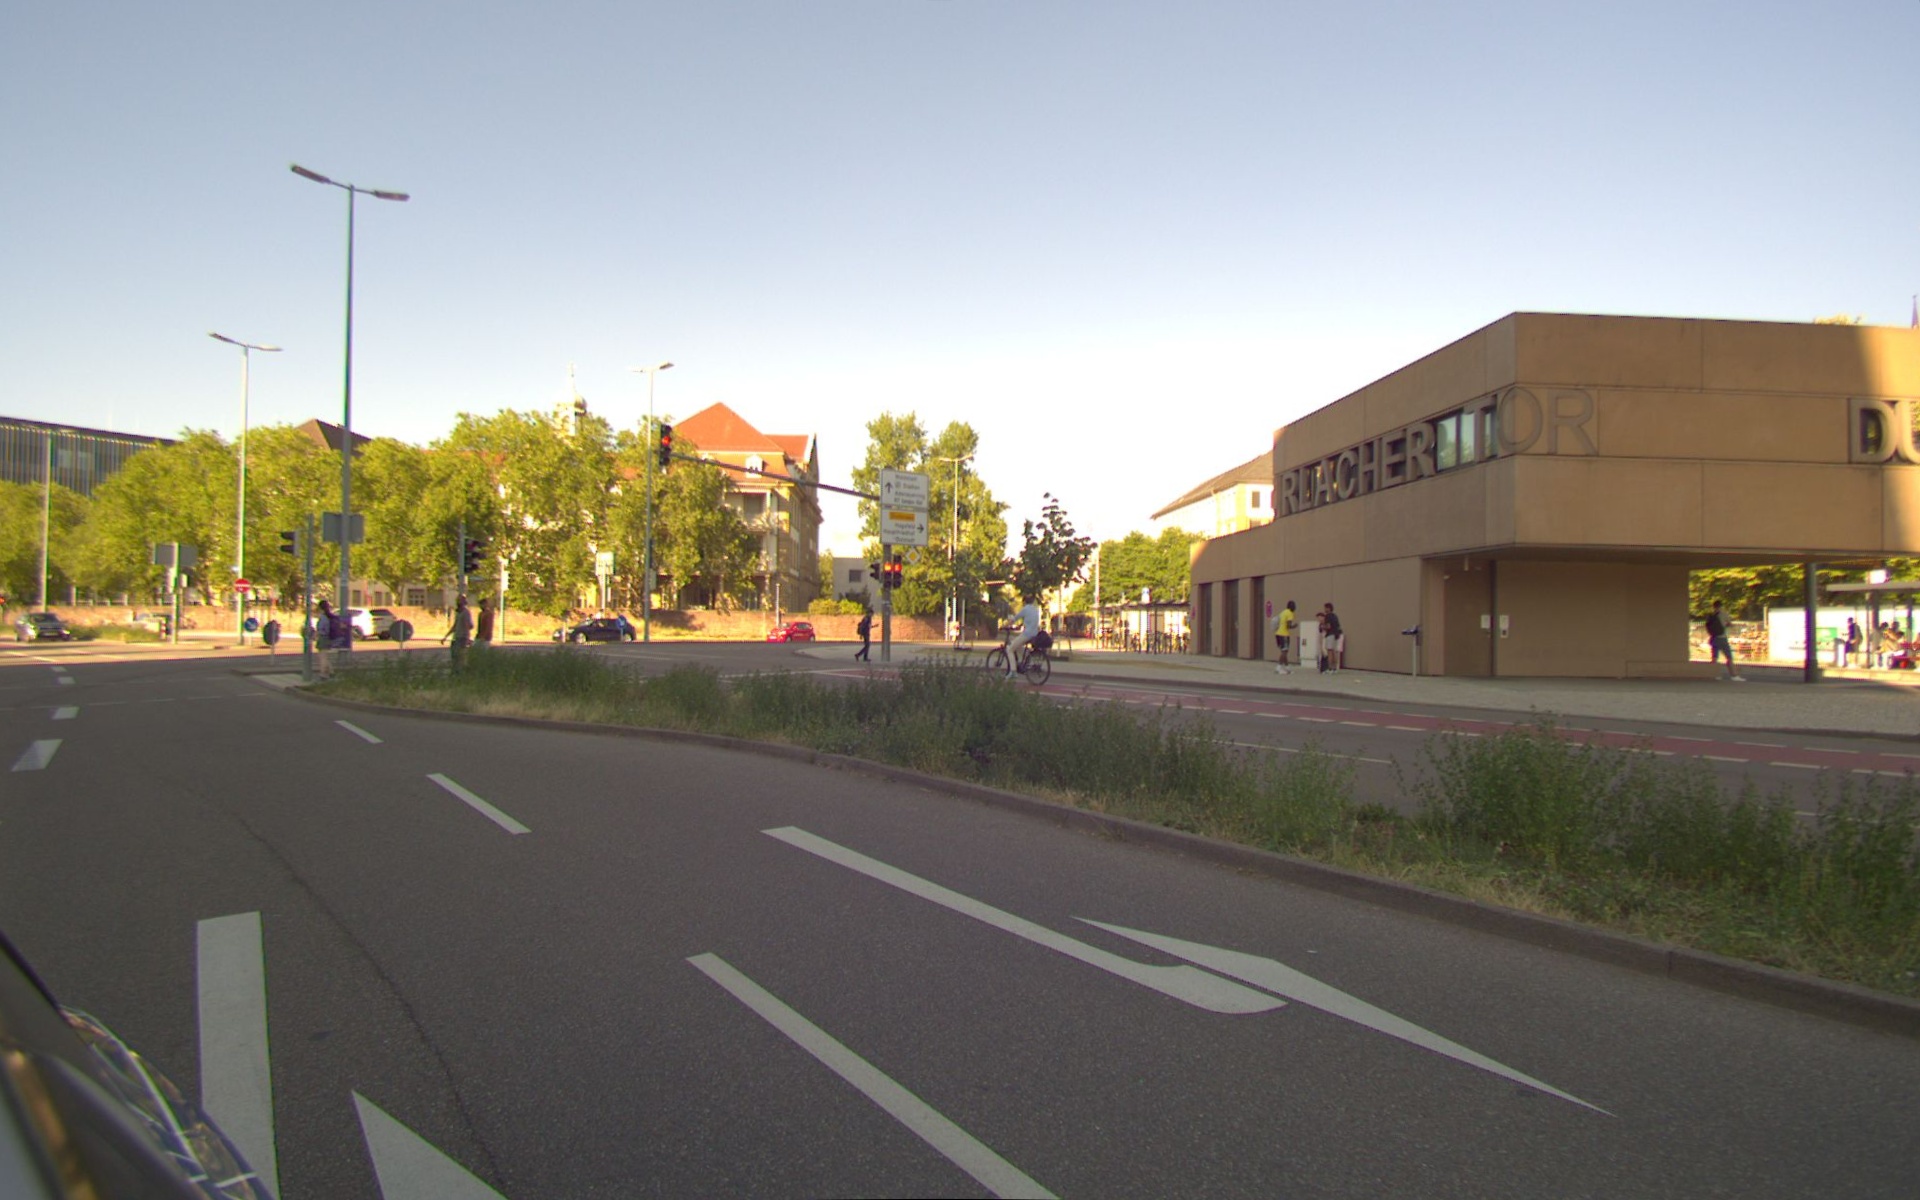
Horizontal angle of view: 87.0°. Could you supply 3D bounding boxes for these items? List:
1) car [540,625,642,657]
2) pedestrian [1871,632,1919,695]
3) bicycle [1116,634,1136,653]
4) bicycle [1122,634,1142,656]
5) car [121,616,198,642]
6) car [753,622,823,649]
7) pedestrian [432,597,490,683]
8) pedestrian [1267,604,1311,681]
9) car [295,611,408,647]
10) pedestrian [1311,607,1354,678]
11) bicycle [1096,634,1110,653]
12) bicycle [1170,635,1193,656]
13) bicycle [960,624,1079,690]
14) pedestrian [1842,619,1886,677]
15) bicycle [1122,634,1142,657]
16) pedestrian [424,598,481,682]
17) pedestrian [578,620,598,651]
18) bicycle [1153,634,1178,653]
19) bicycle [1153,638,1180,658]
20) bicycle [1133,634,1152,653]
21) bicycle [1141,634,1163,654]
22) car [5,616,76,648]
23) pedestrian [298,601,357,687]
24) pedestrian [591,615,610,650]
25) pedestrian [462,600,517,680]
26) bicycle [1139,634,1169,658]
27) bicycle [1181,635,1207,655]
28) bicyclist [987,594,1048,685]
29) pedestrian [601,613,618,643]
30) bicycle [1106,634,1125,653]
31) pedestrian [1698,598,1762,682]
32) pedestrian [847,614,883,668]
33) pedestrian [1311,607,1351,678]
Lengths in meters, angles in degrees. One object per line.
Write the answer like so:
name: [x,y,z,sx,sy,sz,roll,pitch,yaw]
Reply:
car: [-19.268,2.140,53.014,2.194,1.598,4.543,-4,-3,41]
pedestrian: [30.610,2.063,32.996,0.982,1.997,0.829,1,-3,-2]
bicycle: [9.966,2.582,60.811,0.673,1.062,2.024,-1,-1,-3]
bicycle: [9.315,2.441,54.783,0.477,1.114,1.805,-1,-1,-10]
car: [-52.964,1.917,66.988,4.333,1.632,2.140,0,-2,22]
car: [-11.114,2.299,65.638,2.185,1.598,4.563,-3,-3,28]
pedestrian: [-10.437,0.833,21.179,0.913,1.754,0.758,2,-2,-40]
pedestrian: [8.026,1.025,24.694,0.706,1.849,0.641,0,-3,-30]
car: [-30.491,1.475,50.760,4.556,1.697,2.188,-2,-3,10]
pedestrian: [9.382,1.064,25.511,0.725,1.744,0.665,-1,-3,-5]
bicycle: [8.528,2.575,60.427,0.559,1.062,1.972,-1,-1,1]
bicycle: [11.593,2.379,53.002,0.595,1.051,2.035,-1,-1,-4]
bicycle: [1.203,1.140,21.036,2.556,1.265,0.732,0,-1,42]
pedestrian: [31.721,1.676,35.529,0.804,1.997,0.755,1,-3,-2]
bicycle: [9.057,2.379,53.279,0.558,1.114,1.975,-1,-1,-4]
pedestrian: [-10.938,0.852,21.806,0.913,1.754,0.758,2,-2,-40]
pedestrian: [-20.917,1.972,56.895,0.858,1.686,0.715,2,1,-30]
bicycle: [12.451,2.645,61.303,0.825,1.062,2.122,-1,-1,-6]
bicycle: [11.264,2.603,55.307,0.853,1.051,1.934,-1,-1,-6]
bicycle: [10.929,2.601,60.778,0.673,1.062,1.938,-1,-1,-3]
bicycle: [11.138,2.540,58.785,0.747,1.062,1.975,-1,-1,-4]
car: [-45.690,1.572,50.267,4.012,1.530,1.901,-1,-2,38]
pedestrian: [-13.186,0.911,21.107,0.913,1.754,0.758,2,-2,-40]
pedestrian: [-20.592,1.854,57.947,0.858,1.908,0.715,2,1,-30]
pedestrian: [-10.660,0.898,22.934,0.913,1.754,0.789,2,-2,-40]
bicycle: [9.395,2.228,49.162,0.733,1.114,2.128,-1,-3,-8]
bicycle: [12.708,2.450,55.109,0.755,1.051,1.934,-1,-1,-6]
bicyclist: [1.199,0.805,21.041,1.013,1.846,0.732,0,-1,42]
pedestrian: [-20.396,1.615,58.912,0.780,1.665,0.715,3,1,-14]
bicycle: [9.030,2.511,58.756,0.558,1.062,1.976,-1,-1,-7]
pedestrian: [18.691,0.970,24.577,0.966,1.997,0.719,1,-3,-4]
pedestrian: [-3.037,1.298,32.422,0.885,1.697,0.749,2,-3,-40]
pedestrian: [8.997,1.031,24.560,0.628,1.702,0.551,0,-3,-17]
